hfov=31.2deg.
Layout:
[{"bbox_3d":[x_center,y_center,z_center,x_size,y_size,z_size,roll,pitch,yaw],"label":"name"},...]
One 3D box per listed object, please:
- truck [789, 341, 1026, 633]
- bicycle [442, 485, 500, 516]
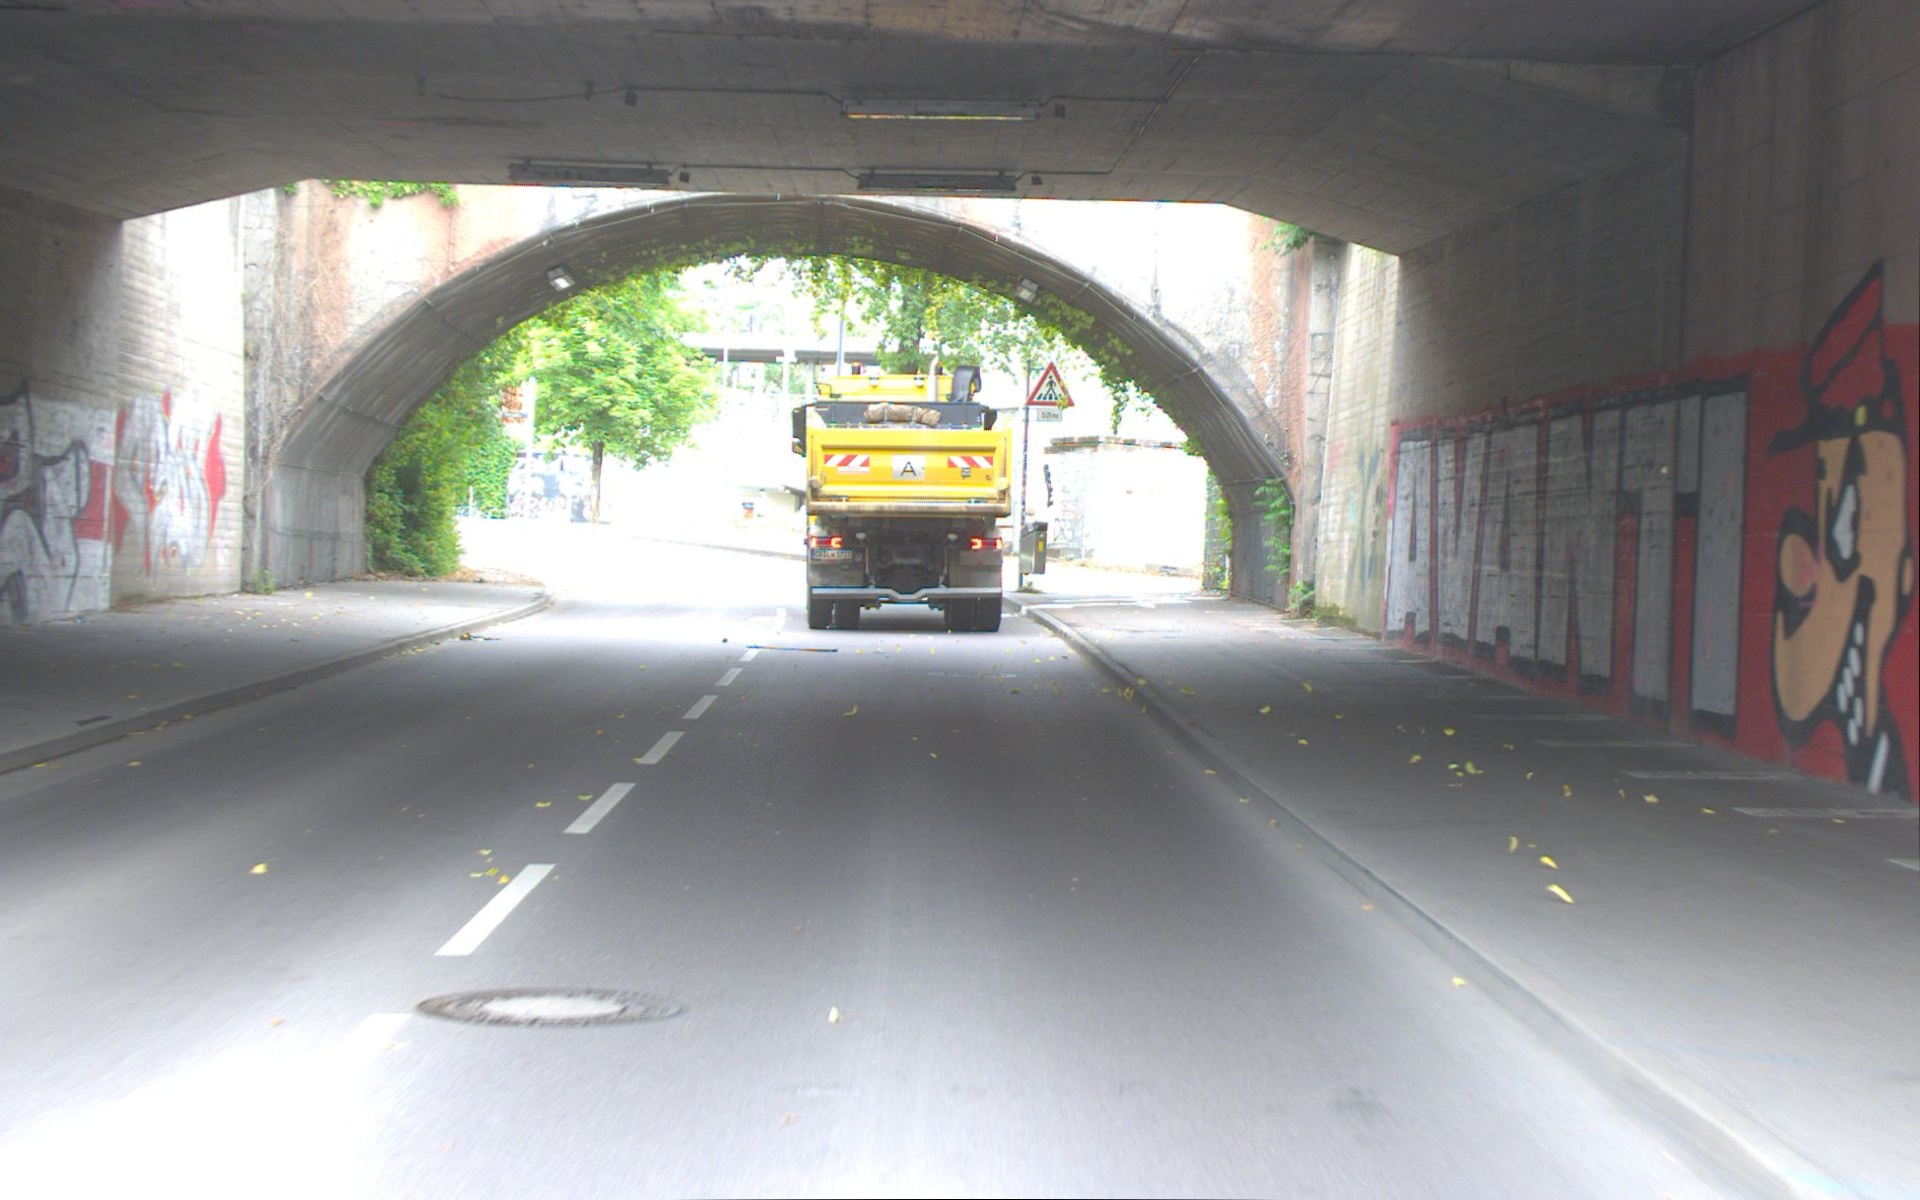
[{"bbox_3d":[-0.791,-1.594,46.330,2.764,3.471,8.131,2,3,-2],"label":"truck"},{"bbox_3d":[-17.329,-3.531,121.879,1.966,0.862,0.511,6,-1,-40],"label":"bicycle"}]
